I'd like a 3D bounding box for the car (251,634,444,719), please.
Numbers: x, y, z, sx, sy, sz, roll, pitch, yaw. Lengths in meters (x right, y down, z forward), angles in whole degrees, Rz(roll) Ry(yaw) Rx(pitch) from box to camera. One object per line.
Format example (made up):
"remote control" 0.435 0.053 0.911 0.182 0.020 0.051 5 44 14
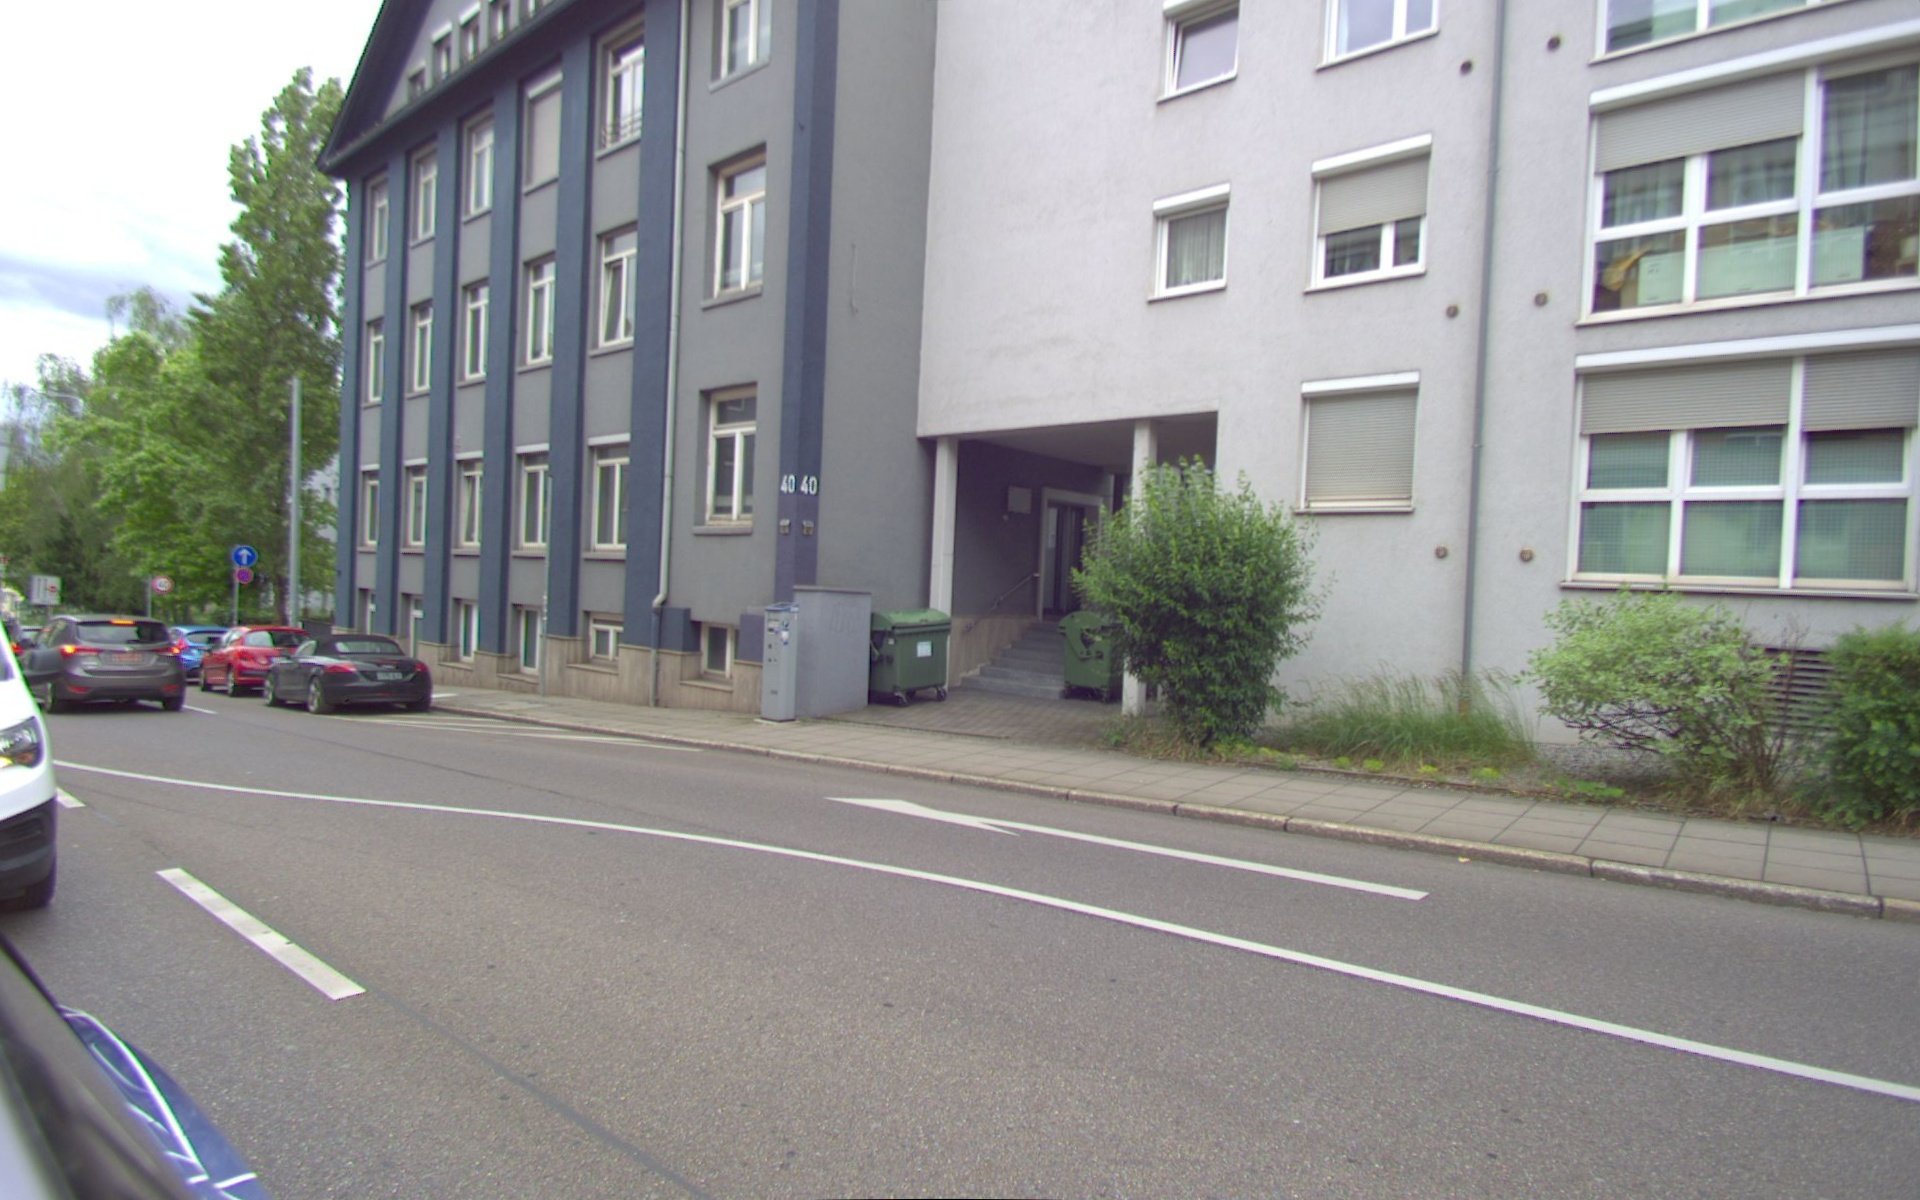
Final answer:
"car" -11.027 1.319 18.117 4.038 1.337 1.702 -1 -4 40

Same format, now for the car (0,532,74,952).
"car" -6.459 0.664 5.535 4.937 1.821 1.816 -1 0 42

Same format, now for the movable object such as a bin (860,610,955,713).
"movable object such as a bin" -0.806 0.918 15.695 0.784 1.467 1.251 0 1 44

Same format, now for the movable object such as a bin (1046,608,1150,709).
"movable object such as a bin" 2.275 0.931 16.657 1.190 1.489 1.132 5 2 41

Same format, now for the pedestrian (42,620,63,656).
"pedestrian" -47.653 1.982 53.141 0.776 1.864 0.736 -2 -2 42

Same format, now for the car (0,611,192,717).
"car" -14.768 1.045 17.220 3.931 1.599 1.687 -1 -4 38

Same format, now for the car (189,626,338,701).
"car" -15.234 1.349 22.067 3.868 1.485 1.796 -2 -4 42

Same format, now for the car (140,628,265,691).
"car" -19.213 1.468 25.620 3.724 1.465 1.702 -1 -3 40
